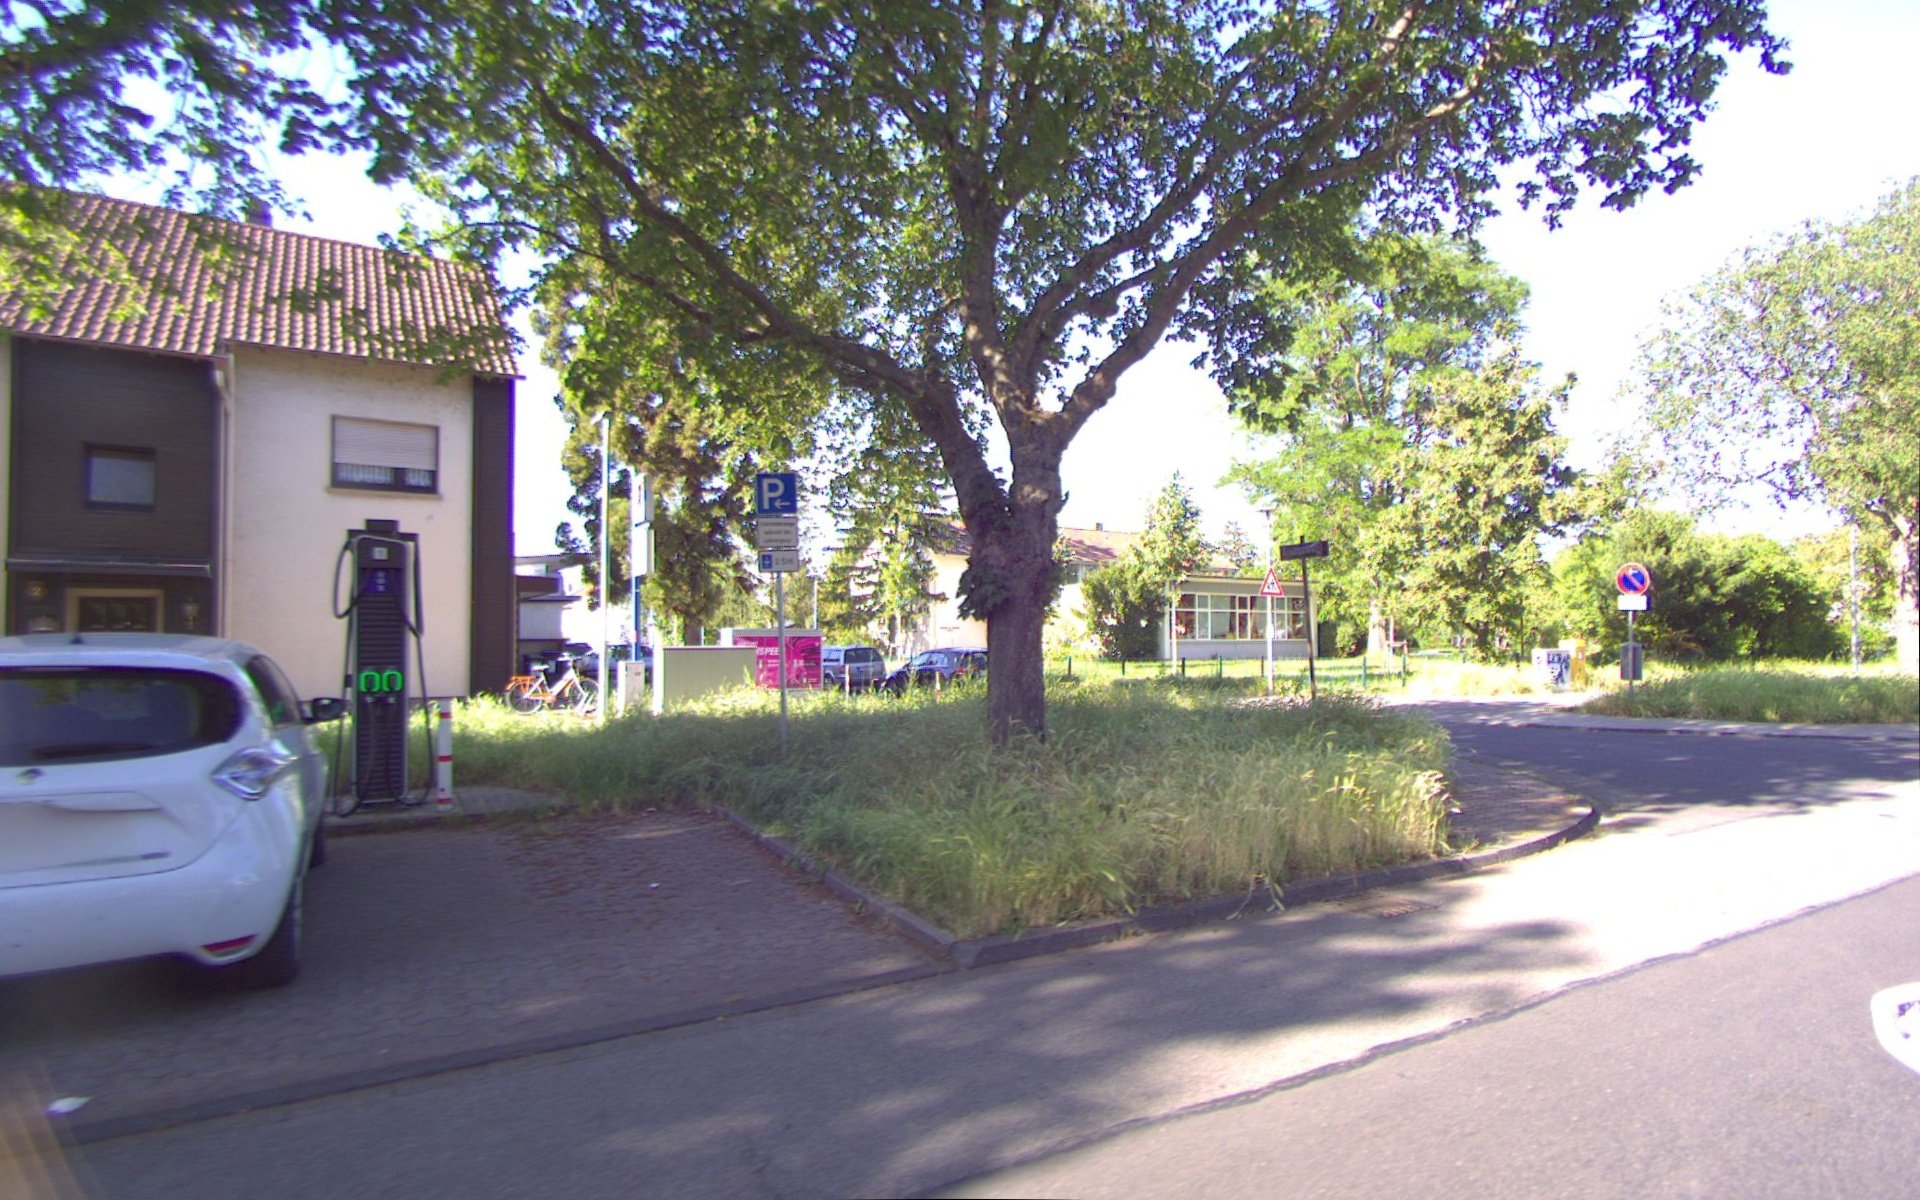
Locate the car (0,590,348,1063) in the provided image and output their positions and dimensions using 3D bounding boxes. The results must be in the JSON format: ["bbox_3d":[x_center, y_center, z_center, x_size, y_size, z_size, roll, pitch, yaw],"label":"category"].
[{"bbox_3d":[-4.426,0.855,5.304,1.944,1.682,3.968,1,-2,-30],"label":"car"}]

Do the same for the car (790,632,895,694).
[{"bbox_3d":[-3.817,1.951,32.138,1.976,1.844,3.969,1,-2,-30],"label":"car"}]

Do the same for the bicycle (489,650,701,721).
[{"bbox_3d":[-7.009,1.612,19.654,0.696,1.192,4.033,-2,-3,43],"label":"bicycle"}]

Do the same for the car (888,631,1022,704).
[{"bbox_3d":[-0.221,1.693,26.172,1.801,1.737,3.969,1,-2,-30],"label":"car"}]

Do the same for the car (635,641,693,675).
[{"bbox_3d":[-14.436,2.801,48.886,1.799,1.560,3.836,1,-3,-31],"label":"car"}]
